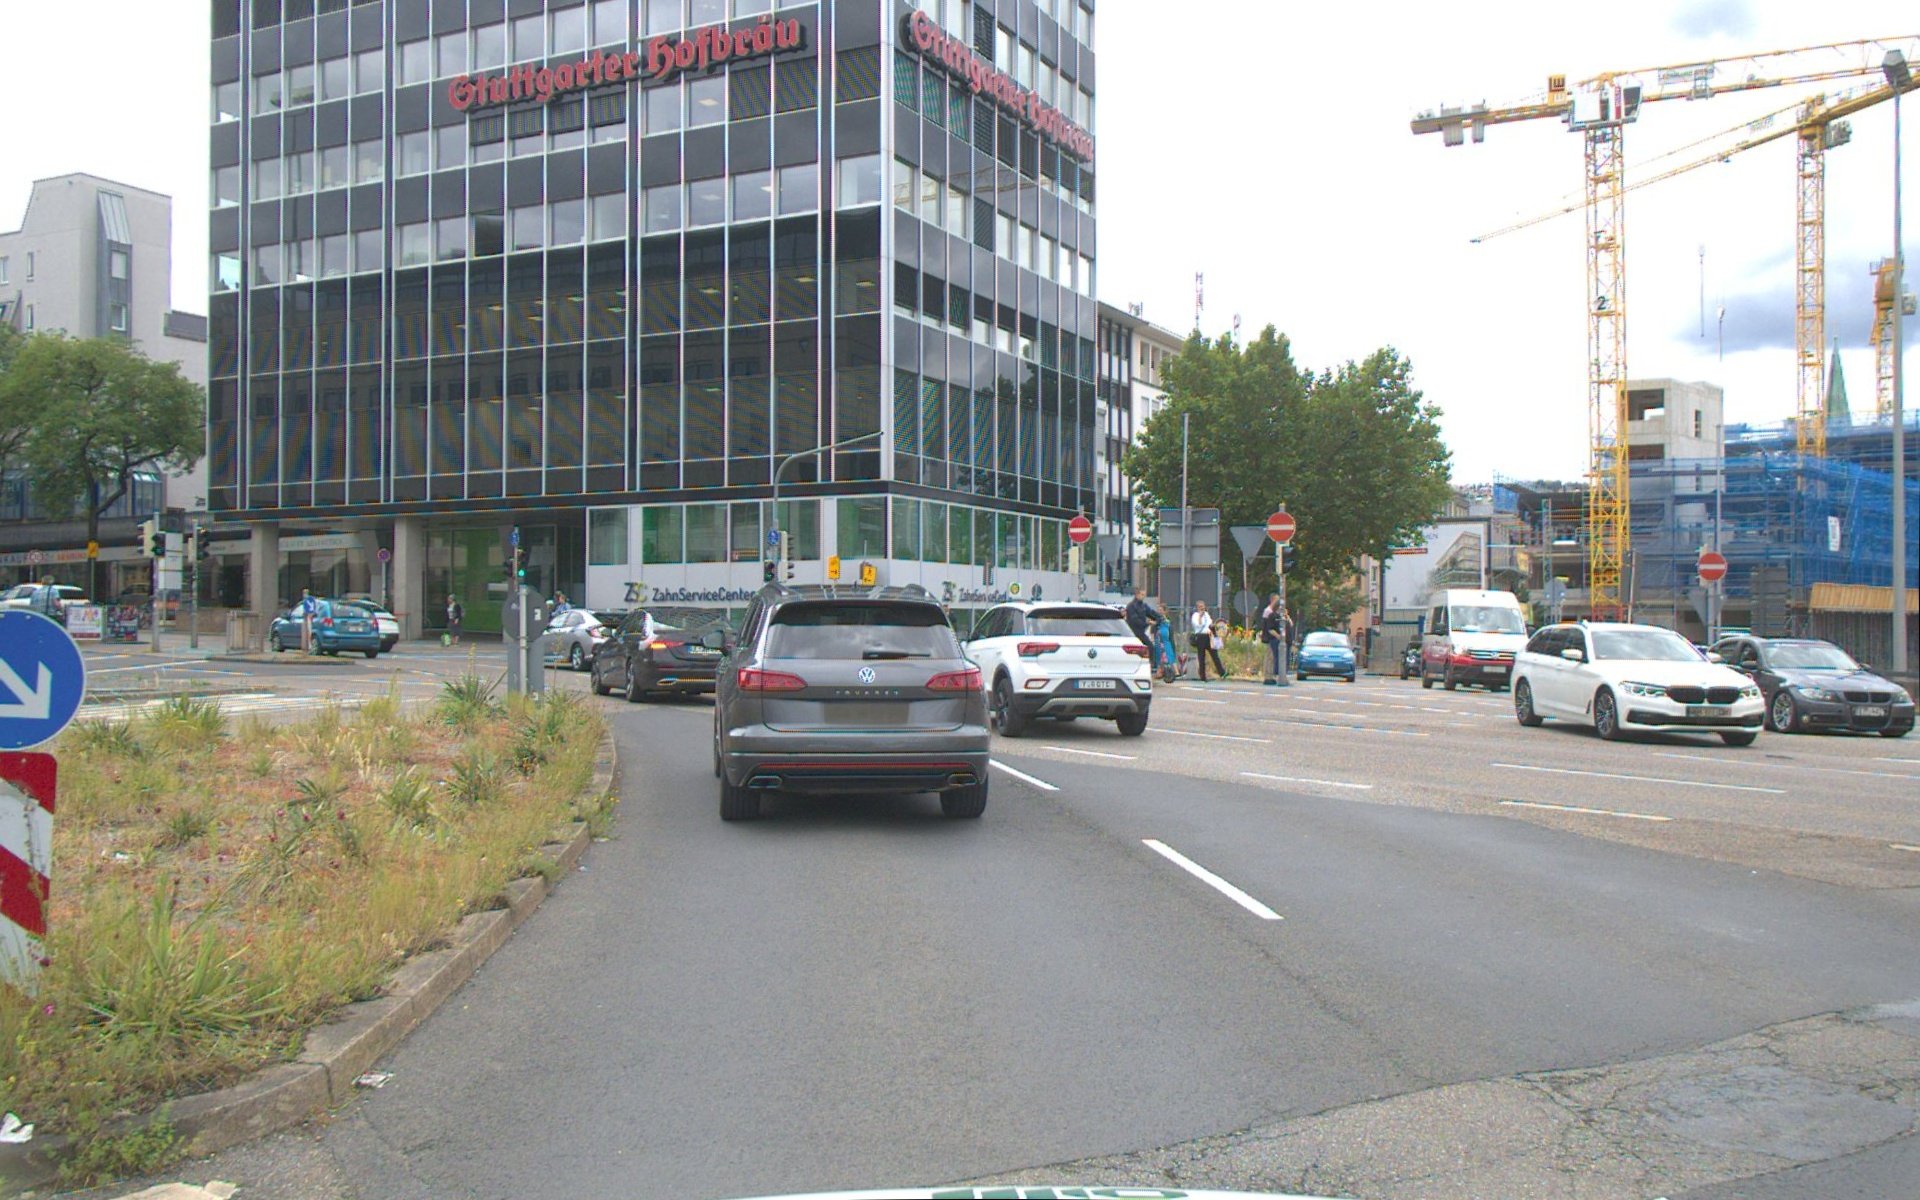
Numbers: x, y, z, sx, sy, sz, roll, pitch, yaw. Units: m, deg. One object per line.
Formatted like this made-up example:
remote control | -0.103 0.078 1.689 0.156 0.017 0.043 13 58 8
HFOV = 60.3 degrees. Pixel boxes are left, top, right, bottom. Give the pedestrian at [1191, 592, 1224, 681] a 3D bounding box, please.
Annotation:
pedestrian | 5.222 0.760 34.851 0.627 1.828 0.611 2 -1 9

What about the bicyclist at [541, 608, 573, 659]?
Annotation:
bicyclist | -12.624 1.038 51.826 0.826 1.577 0.566 0 -1 4

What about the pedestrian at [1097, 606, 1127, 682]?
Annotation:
pedestrian | 3.486 1.009 37.983 0.627 1.725 0.611 1 -2 9

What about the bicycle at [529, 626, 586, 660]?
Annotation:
bicycle | -12.601 1.341 51.824 1.629 1.045 0.582 0 0 3

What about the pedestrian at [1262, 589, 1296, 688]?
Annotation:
pedestrian | 6.472 0.777 33.539 0.627 1.989 0.611 1 -1 12

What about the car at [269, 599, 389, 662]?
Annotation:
car | -16.353 0.761 42.778 1.821 1.544 3.713 0 0 -40

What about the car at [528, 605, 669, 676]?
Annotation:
car | -8.541 0.930 38.806 1.817 1.457 4.098 3 -1 -34

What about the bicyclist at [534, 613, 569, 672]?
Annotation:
bicyclist | -13.525 1.409 54.773 0.796 1.878 0.674 3 0 28

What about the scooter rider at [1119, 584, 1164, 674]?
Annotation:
scooter rider | 3.553 0.563 32.374 0.728 1.724 0.767 1 -1 16

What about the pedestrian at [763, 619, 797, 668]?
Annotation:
pedestrian | -5.469 1.318 50.177 0.820 1.468 0.605 0 0 28

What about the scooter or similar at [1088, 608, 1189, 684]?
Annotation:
scooter or similar | 3.499 0.896 32.377 1.842 1.431 0.777 1 -1 17

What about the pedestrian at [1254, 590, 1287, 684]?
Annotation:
pedestrian | 6.559 0.776 34.952 0.627 1.944 0.611 1 -1 9

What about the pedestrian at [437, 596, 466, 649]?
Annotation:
pedestrian | -17.131 0.760 55.704 0.736 1.741 0.526 -2 -1 27

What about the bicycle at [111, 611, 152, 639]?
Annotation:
bicycle | -34.633 1.051 69.114 1.844 1.152 0.490 1 -1 27

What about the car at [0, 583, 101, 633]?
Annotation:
car | -29.964 0.242 54.121 3.692 1.594 1.831 0 0 36

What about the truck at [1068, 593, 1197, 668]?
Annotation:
truck | 7.719 1.385 72.845 2.295 3.118 8.178 0 -2 32

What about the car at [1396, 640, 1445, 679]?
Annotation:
car | 18.388 2.353 66.150 1.793 1.492 4.003 0 -1 14

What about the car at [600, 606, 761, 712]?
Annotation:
car | -4.397 0.865 25.577 1.805 1.420 4.125 3 -1 -18

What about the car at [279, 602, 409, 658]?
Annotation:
car | -17.968 0.837 48.172 3.692 1.544 1.831 0 0 36

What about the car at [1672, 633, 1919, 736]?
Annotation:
car | 12.596 1.212 24.822 1.718 1.357 4.410 2 -1 -3

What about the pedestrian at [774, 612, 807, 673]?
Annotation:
pedestrian | -4.818 1.206 47.114 0.787 1.727 0.545 0 -1 42

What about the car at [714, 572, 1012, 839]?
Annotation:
car | -0.931 0.671 12.903 1.934 1.725 4.216 0 0 -9

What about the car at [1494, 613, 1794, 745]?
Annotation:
car | 9.002 1.004 22.320 1.953 1.531 5.039 1 -1 0

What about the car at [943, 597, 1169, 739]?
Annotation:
car | 1.067 0.781 20.469 1.766 1.572 3.922 1 -1 -13

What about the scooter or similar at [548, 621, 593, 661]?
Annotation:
scooter or similar | -11.931 1.252 50.675 1.295 1.196 0.592 0 0 -9

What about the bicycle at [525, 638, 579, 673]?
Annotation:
bicycle | -13.511 1.826 54.789 1.728 1.024 0.680 2 2 27

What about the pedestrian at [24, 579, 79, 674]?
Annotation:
pedestrian | -17.962 0.514 32.717 0.621 1.821 0.716 2 3 32

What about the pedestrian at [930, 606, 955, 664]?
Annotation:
pedestrian | -0.546 1.098 51.456 0.621 1.779 0.591 1 -1 16

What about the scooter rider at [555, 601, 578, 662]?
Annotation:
scooter rider | -12.054 0.956 50.655 0.629 1.840 0.592 0 -1 -9

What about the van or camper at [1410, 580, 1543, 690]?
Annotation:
van or camper | 12.964 0.856 41.918 2.094 2.521 6.165 2 -1 7

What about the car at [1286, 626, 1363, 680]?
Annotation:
car | 11.391 1.635 51.936 1.901 1.508 4.631 0 0 7
